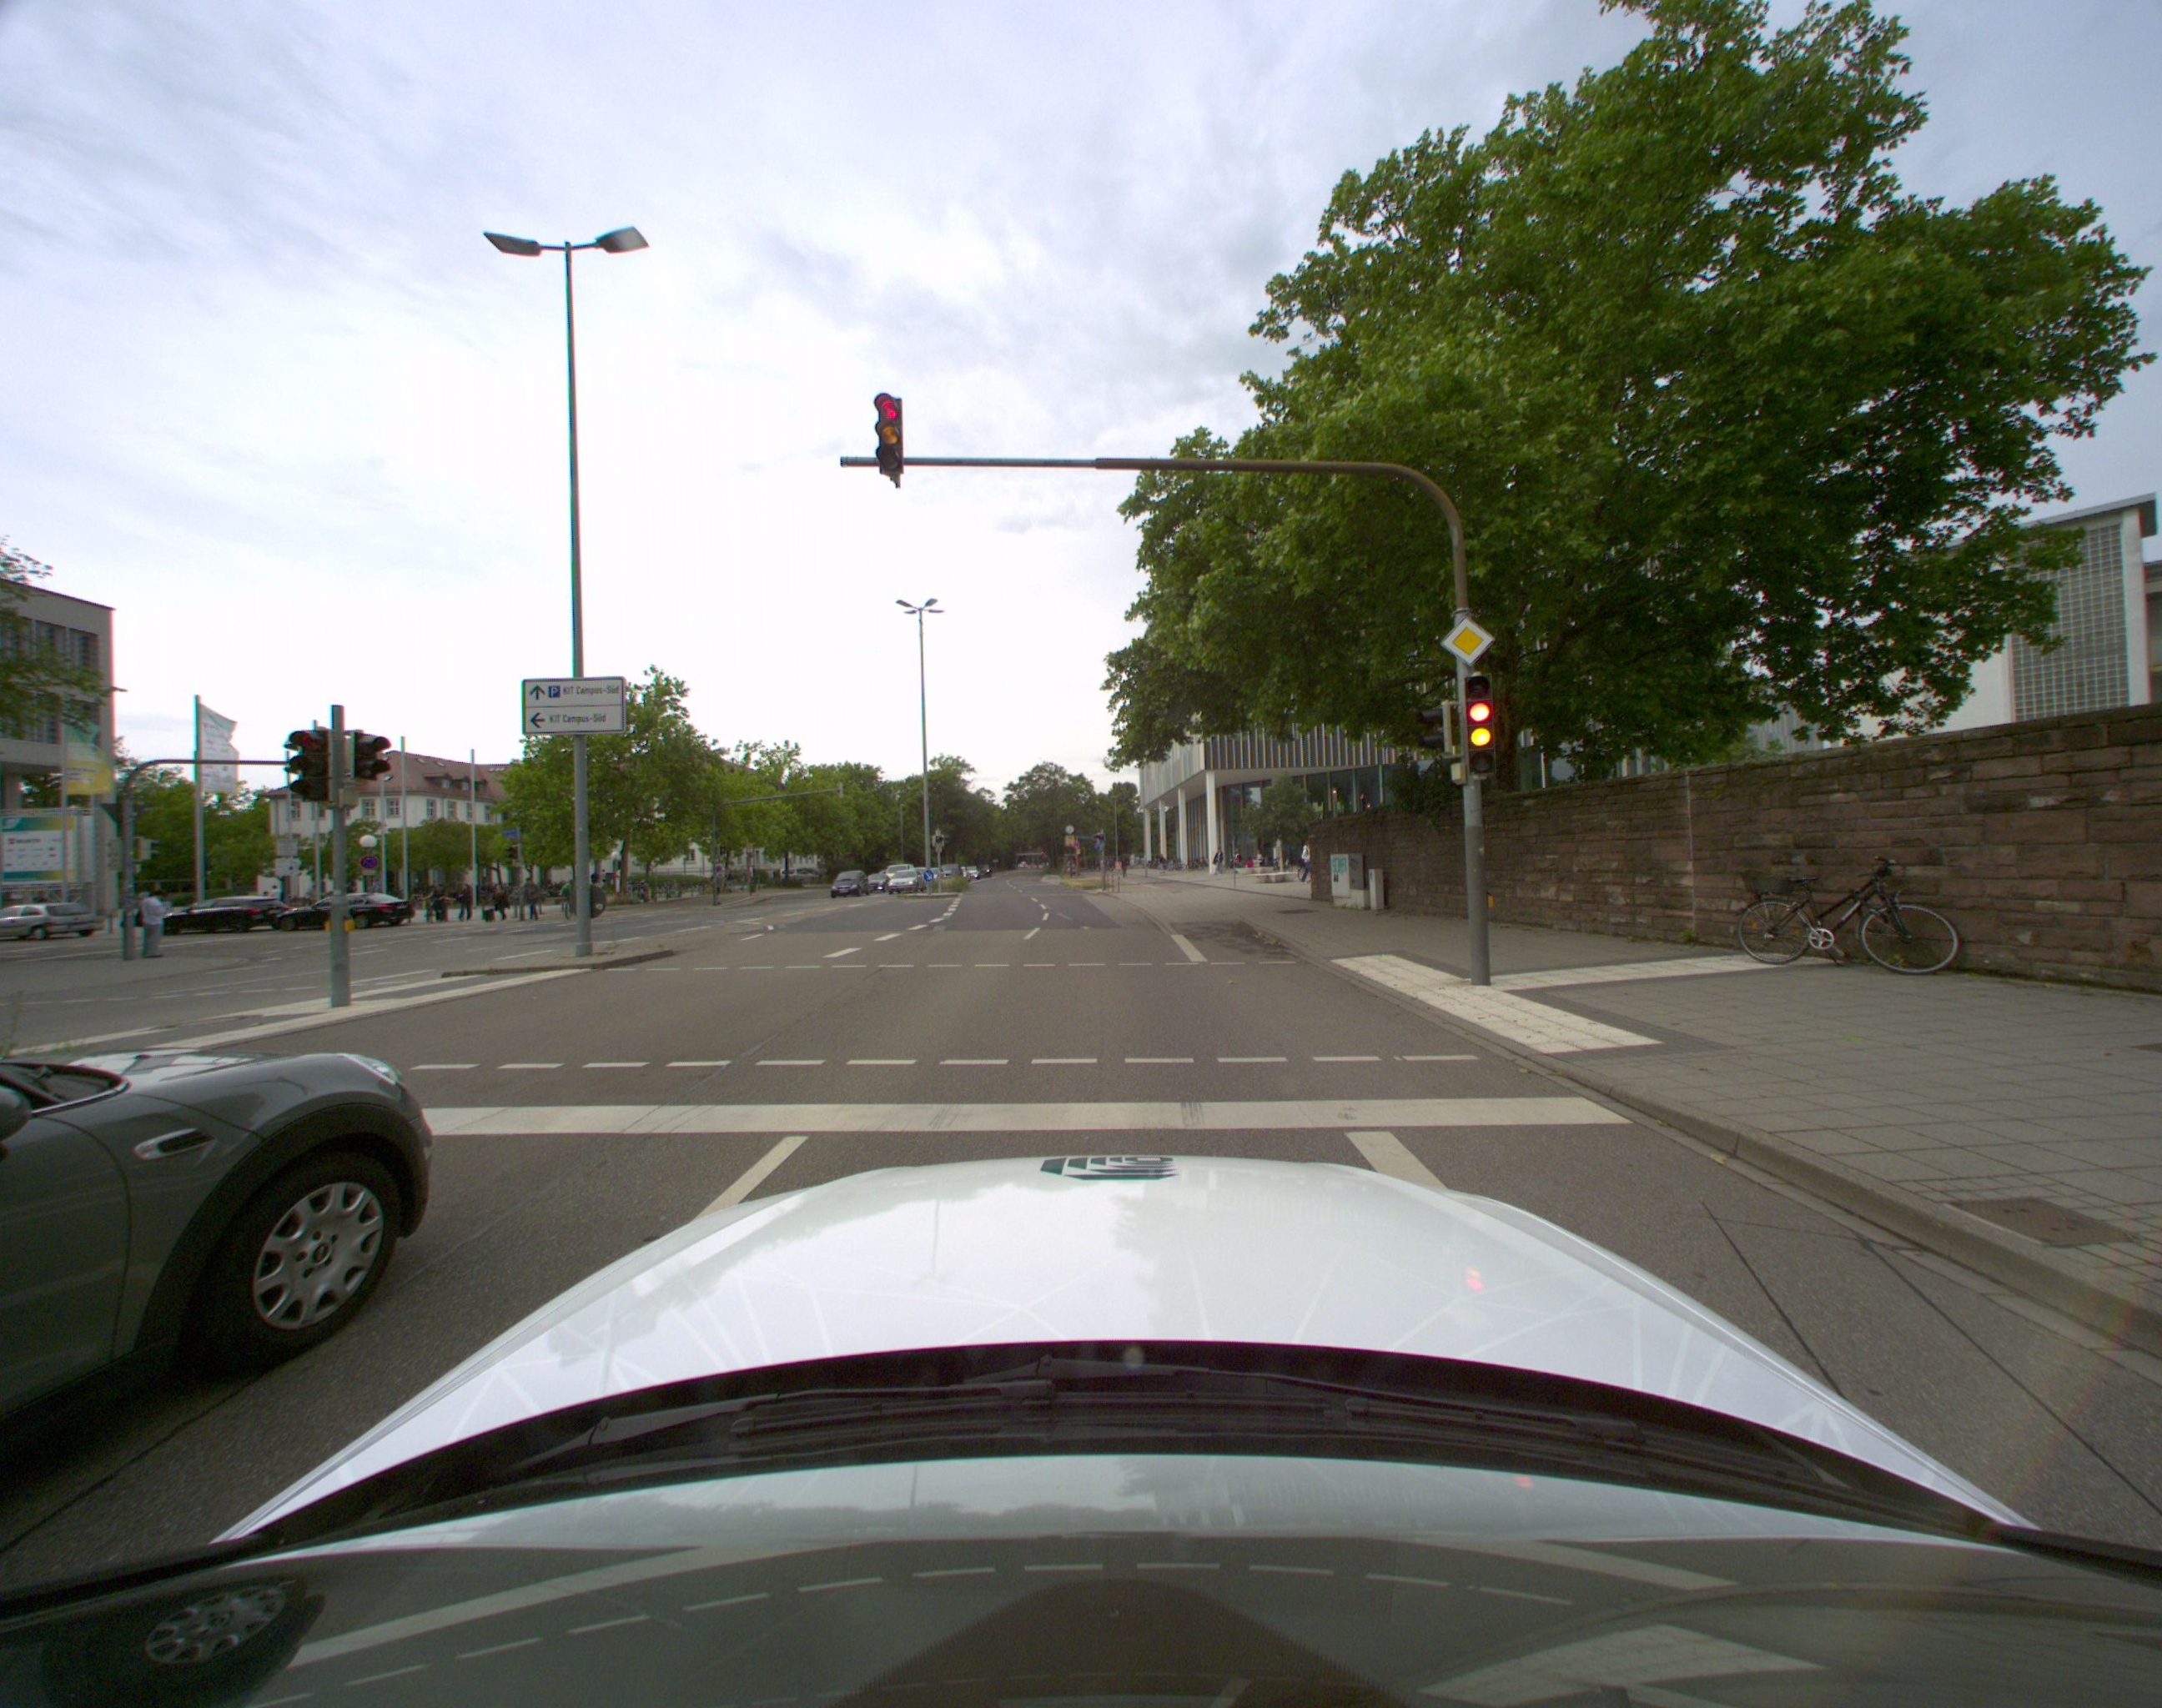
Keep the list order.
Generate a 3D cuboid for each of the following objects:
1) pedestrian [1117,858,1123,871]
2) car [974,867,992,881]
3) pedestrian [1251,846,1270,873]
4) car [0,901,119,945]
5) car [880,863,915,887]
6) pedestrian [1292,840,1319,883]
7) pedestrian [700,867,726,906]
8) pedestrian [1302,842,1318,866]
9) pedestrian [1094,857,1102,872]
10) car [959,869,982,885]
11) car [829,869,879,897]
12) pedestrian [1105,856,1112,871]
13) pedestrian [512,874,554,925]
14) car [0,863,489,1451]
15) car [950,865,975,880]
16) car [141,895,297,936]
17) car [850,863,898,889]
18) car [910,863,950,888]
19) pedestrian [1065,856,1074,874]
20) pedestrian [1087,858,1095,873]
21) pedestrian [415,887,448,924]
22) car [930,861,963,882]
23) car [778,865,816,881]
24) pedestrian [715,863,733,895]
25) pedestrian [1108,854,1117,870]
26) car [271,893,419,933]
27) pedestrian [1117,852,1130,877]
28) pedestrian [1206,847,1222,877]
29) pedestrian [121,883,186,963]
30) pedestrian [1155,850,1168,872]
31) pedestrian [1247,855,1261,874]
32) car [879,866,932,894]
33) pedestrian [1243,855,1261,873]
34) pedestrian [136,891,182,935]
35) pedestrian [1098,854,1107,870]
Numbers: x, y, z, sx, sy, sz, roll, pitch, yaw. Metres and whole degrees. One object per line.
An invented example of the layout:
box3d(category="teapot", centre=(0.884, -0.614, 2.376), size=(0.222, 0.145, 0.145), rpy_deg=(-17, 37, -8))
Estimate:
box3d(category="pedestrian", centre=(5.070, 1.387, 105.035), size=(0.726, 1.684, 0.747), rpy_deg=(0, -1, 1))
box3d(category="car", centre=(-12.707, 2.565, 106.051), size=(1.898, 1.593, 4.512), rpy_deg=(-3, -1, -2))
box3d(category="pedestrian", centre=(12.628, 0.375, 57.349), size=(0.848, 1.836, 0.885), rpy_deg=(-2, -1, -33))
box3d(category="car", centre=(-42.134, 2.765, 32.877), size=(3.979, 1.580, 1.997), rpy_deg=(0, -1, -4))
box3d(category="car", centre=(-14.522, 1.646, 64.755), size=(1.766, 1.848, 4.487), rpy_deg=(0, -1, 0))
box3d(category="pedestrian", centre=(9.571, 0.333, 34.679), size=(0.773, 1.795, 0.795), rpy_deg=(-3, -1, 41))
box3d(category="pedestrian", centre=(-19.674, 1.733, 43.542), size=(0.892, 2.014, 1.008), rpy_deg=(-2, -1, -4))
box3d(category="pedestrian", centre=(19.810, 0.017, 70.399), size=(1.170, 2.062, 1.142), rpy_deg=(-1, -1, 24))
box3d(category="pedestrian", centre=(2.354, 1.496, 113.269), size=(0.823, 2.014, 0.718), rpy_deg=(-2, -1, -7))
box3d(category="car", centre=(-12.225, 2.546, 90.024), size=(1.989, 1.547, 4.176), rpy_deg=(-4, -1, -2))
box3d(category="car", centre=(-13.776, 1.737, 49.615), size=(1.845, 1.463, 3.699), rpy_deg=(-2, 0, 2))
box3d(category="pedestrian", centre=(3.831, 1.329, 113.990), size=(0.822, 2.014, 0.719), rpy_deg=(-3, -1, -3))
box3d(category="pedestrian", centre=(-22.572, 1.846, 33.576), size=(1.185, 2.014, 1.134), rpy_deg=(0, -1, -22))
box3d(category="car", centre=(-3.279, 0.716, 1.447), size=(1.615, 1.318, 3.707), rpy_deg=(-2, 0, 2))
box3d(category="car", centre=(-11.562, 1.780, 79.574), size=(1.899, 1.465, 4.906), rpy_deg=(0, 0, -2))
box3d(category="car", centre=(-35.146, 2.483, 33.308), size=(3.982, 1.472, 1.996), rpy_deg=(0, -1, -6))
box3d(category="car", centre=(-14.142, 1.480, 55.889), size=(1.984, 1.619, 4.005), rpy_deg=(-2, 0, 4))
box3d(category="car", centre=(-10.796, 1.483, 58.506), size=(1.950, 1.584, 4.256), rpy_deg=(-3, 0, 1))
box3d(category="pedestrian", centre=(-1.341, 1.313, 94.979), size=(0.910, 2.013, 0.853), rpy_deg=(-4, 1, -3))
box3d(category="pedestrian", centre=(1.367, 1.619, 113.468), size=(0.924, 2.014, 1.037), rpy_deg=(-2, -1, -7))
box3d(category="pedestrian", centre=(-27.747, 2.169, 34.800), size=(0.825, 1.513, 0.968), rpy_deg=(0, -1, -22))
box3d(category="car", centre=(-11.770, 1.505, 71.782), size=(1.986, 1.687, 4.948), rpy_deg=(-1, 0, 1))
box3d(category="car", centre=(-30.334, 2.001, 87.027), size=(3.579, 1.602, 1.649), rpy_deg=(0, -1, -5))
box3d(category="pedestrian", centre=(-23.110, 1.626, 52.719), size=(0.801, 2.014, 0.923), rpy_deg=(0, -1, -9))
box3d(category="pedestrian", centre=(4.066, 1.086, 104.746), size=(0.924, 2.014, 1.038), rpy_deg=(-2, -1, -5))
box3d(category="car", centre=(-30.367, 2.417, 33.719), size=(4.136, 1.472, 1.996), rpy_deg=(0, -1, -6))
box3d(category="pedestrian", centre=(3.491, 0.844, 67.153), size=(0.840, 2.013, 0.894), rpy_deg=(-4, -1, -1))
box3d(category="pedestrian", centre=(9.088, 0.554, 55.582), size=(0.840, 2.014, 0.894), rpy_deg=(-2, -1, -1))
box3d(category="pedestrian", centre=(-25.099, 1.837, 22.054), size=(0.664, 2.058, 0.852), rpy_deg=(-2, 1, -2))
box3d(category="pedestrian", centre=(7.336, 0.645, 74.425), size=(0.883, 2.014, 0.850), rpy_deg=(-3, -1, 24))
box3d(category="pedestrian", centre=(11.595, 0.690, 54.651), size=(0.885, 1.193, 0.848), rpy_deg=(-2, -1, 12))
box3d(category="car", centre=(-10.809, 1.572, 50.497), size=(1.984, 1.529, 4.279), rpy_deg=(-2, 0, 4))
box3d(category="pedestrian", centre=(11.321, 0.659, 53.966), size=(0.834, 1.206, 0.900), rpy_deg=(-3, -1, 32))
box3d(category="pedestrian", centre=(-43.790, 2.787, 38.692), size=(1.000, 2.014, 1.016), rpy_deg=(-2, -1, -3))
box3d(category="pedestrian", centre=(2.789, 1.084, 104.733), size=(0.924, 2.014, 1.037), rpy_deg=(-2, -1, -7))
